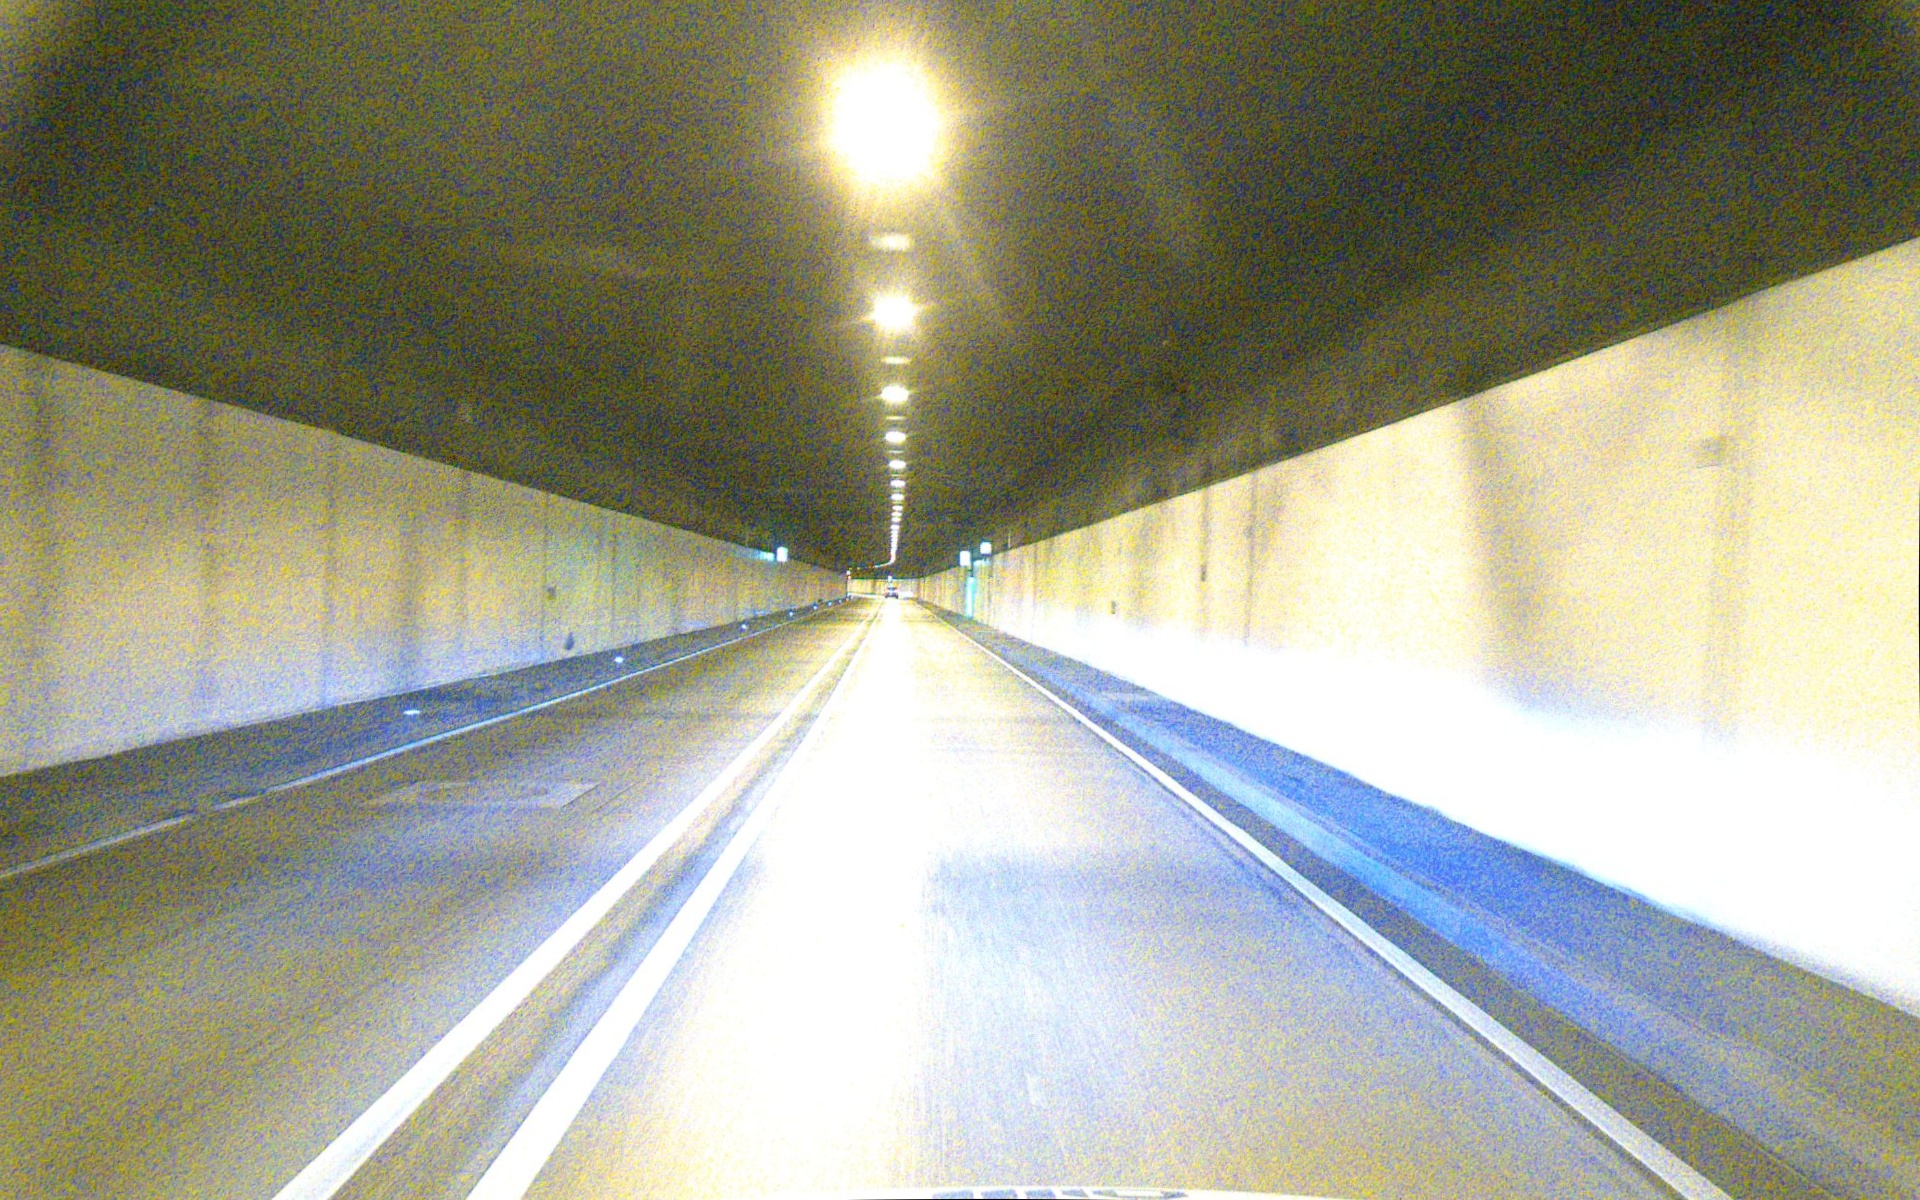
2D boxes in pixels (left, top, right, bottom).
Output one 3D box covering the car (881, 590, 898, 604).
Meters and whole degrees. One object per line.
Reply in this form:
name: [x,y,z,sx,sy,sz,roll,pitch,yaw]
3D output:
car: [-9.754,-0.412,229.470,1.929,1.973,4.605,1,0,-7]
